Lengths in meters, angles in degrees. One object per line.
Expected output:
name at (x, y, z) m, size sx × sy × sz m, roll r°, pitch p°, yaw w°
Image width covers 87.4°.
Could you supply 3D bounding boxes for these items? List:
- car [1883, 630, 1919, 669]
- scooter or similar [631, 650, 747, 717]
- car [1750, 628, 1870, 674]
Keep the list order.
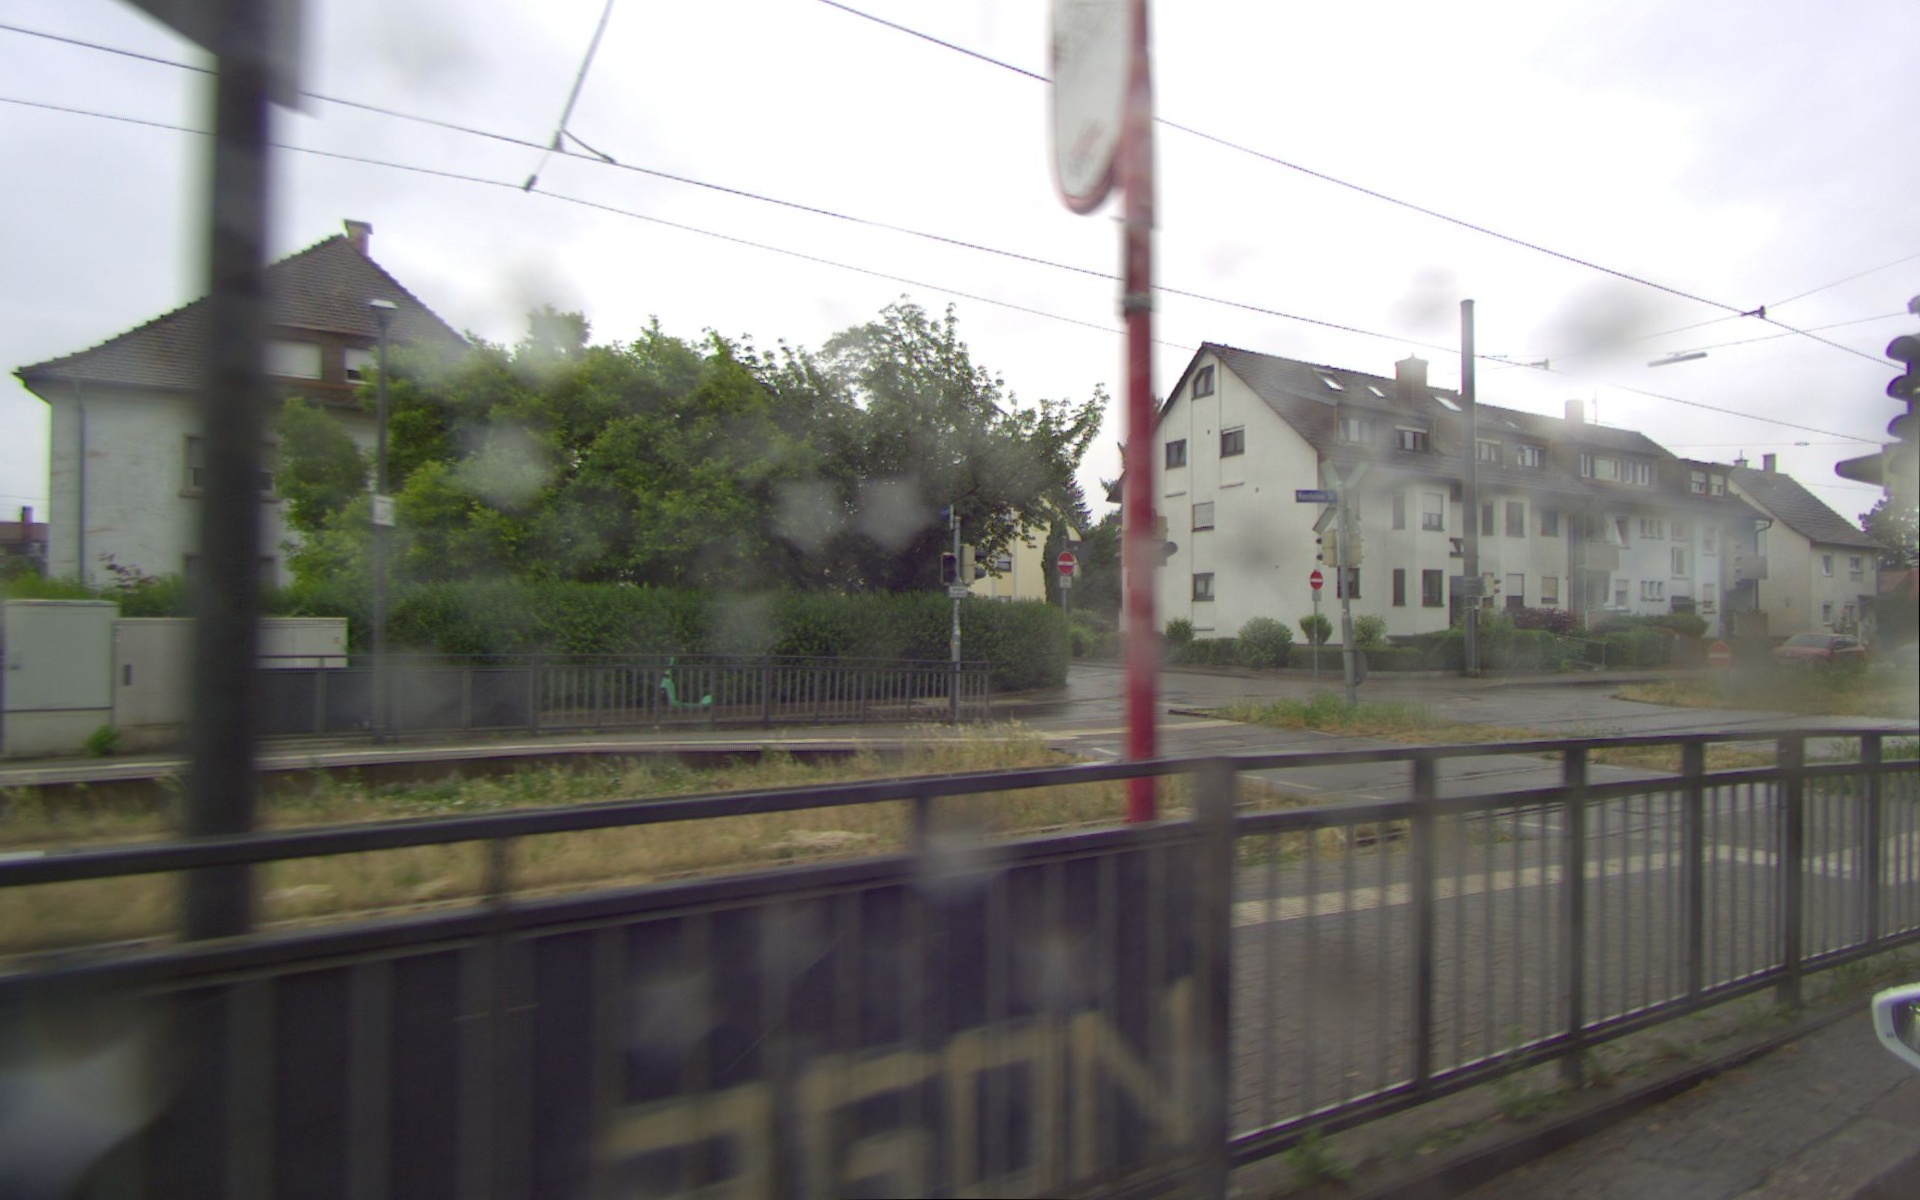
car at (39.659, 2.015, 40.837) m, size 3.949 × 1.506 × 1.921 m, roll 2°, pitch -1°, yaw -28°
scooter or similar at (-4.723, 1.432, 17.529) m, size 1.844 × 1.086 × 0.660 m, roll 2°, pitch -1°, yaw -30°
car at (30.155, 1.798, 35.628) m, size 3.949 × 1.506 × 1.921 m, roll 2°, pitch -1°, yaw -28°
